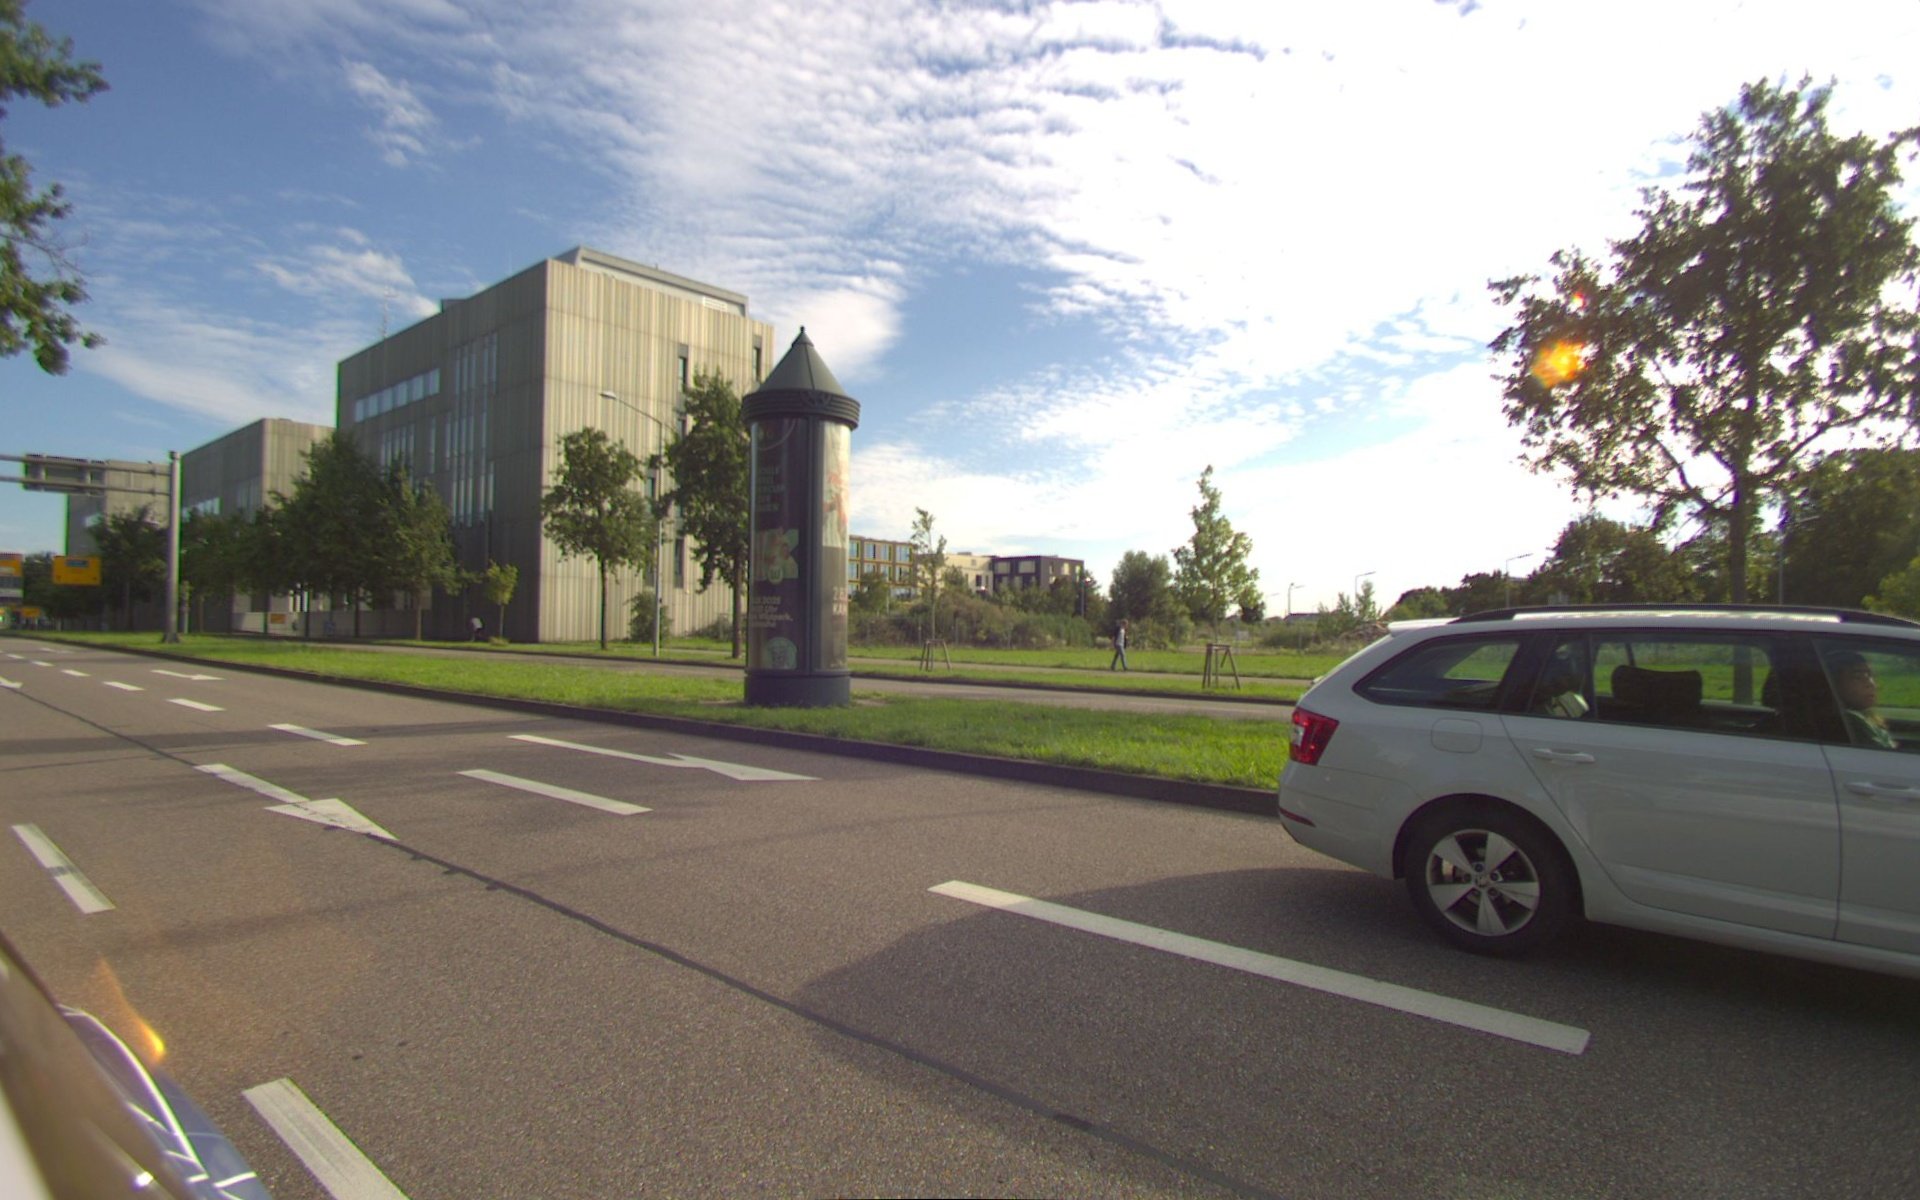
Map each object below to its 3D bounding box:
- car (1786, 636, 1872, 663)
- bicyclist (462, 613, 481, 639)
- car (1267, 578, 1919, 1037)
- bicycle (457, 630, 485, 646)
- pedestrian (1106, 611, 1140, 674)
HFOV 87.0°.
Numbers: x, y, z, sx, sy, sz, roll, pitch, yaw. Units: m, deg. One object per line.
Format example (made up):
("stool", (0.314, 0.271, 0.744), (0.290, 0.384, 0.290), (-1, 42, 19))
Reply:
("car", (59.345, 3.370, 69.196), (1.968, 1.760, 4.136), (1, -2, -9))
("bicyclist", (-29.912, 1.596, 61.996), (0.989, 1.537, 0.698), (-1, -3, 41))
("car", (3.692, 0.691, 3.984), (4.479, 1.510, 1.681), (-1, -1, 41))
("bicycle", (-29.953, 2.334, 61.995), (1.910, 0.989, 0.885), (-1, -3, 41))
("pedestrian", (5.326, 1.391, 33.017), (0.867, 2.029, 0.667), (-1, -3, 41))
